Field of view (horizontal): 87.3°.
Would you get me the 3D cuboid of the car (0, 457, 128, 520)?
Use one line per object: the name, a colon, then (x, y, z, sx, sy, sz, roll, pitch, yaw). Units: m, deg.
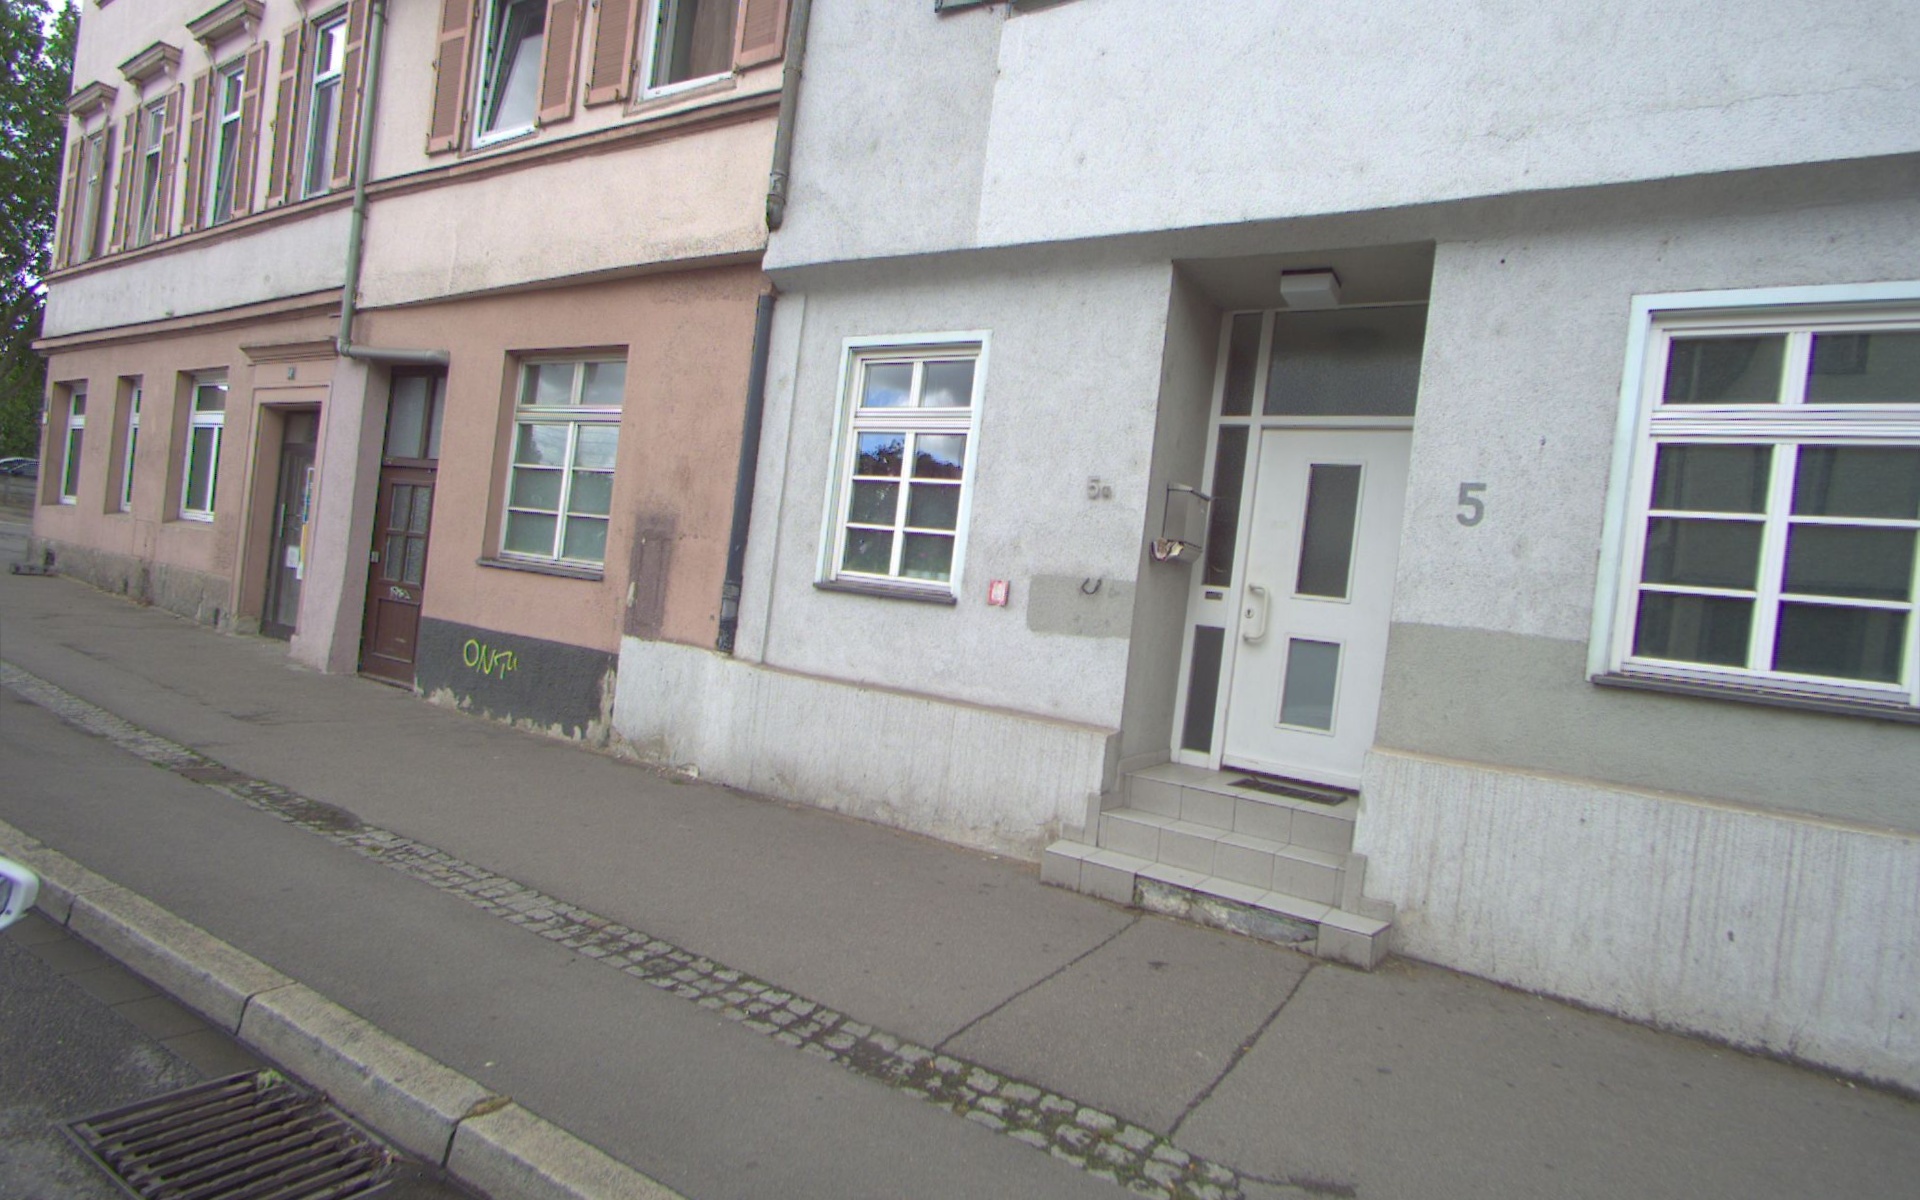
car: (-32.274, -3.954, 35.076, 1.964, 1.655, 4.529, 7, 0, 24)

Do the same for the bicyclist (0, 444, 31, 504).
bicyclist: (-37.519, -4.972, 39.069, 1.224, 2.182, 1.569, 7, 0, 18)

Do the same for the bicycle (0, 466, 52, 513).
bicycle: (-37.641, -4.441, 39.028, 1.443, 1.588, 3.156, 7, -1, 18)
